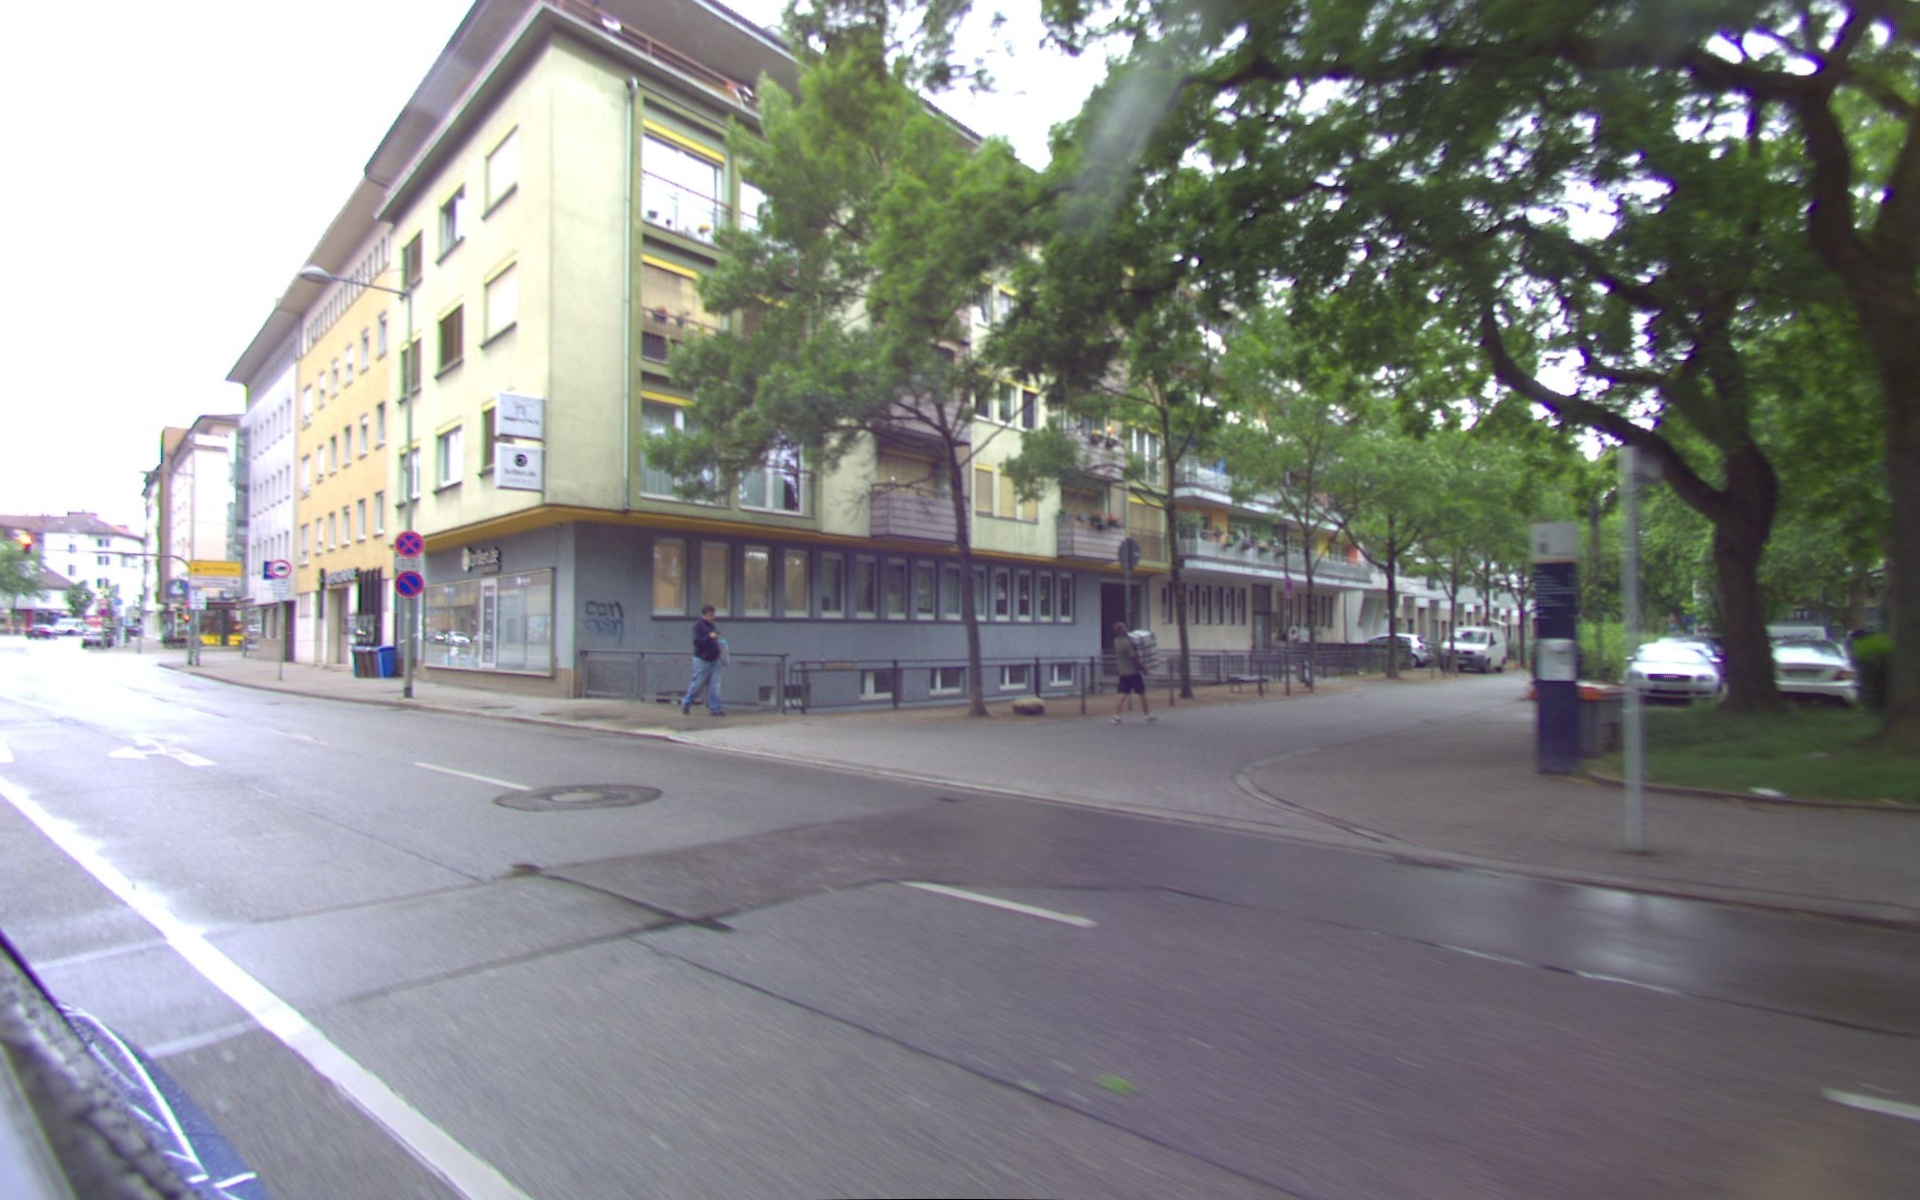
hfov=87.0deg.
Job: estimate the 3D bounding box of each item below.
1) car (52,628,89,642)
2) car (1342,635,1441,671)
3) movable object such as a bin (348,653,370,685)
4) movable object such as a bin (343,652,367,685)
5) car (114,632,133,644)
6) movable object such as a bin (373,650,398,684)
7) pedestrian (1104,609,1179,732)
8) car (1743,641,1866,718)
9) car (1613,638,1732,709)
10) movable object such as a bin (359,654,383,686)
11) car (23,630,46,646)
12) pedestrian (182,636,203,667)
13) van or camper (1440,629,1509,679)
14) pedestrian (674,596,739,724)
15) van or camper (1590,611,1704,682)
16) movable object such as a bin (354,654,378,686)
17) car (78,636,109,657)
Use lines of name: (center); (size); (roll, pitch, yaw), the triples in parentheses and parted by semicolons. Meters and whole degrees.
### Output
car: (-113.082, 4.472, 128.693); (1.984, 1.778, 4.777); (2, -3, -22)
car: (20.443, 2.492, 47.998); (3.998, 1.608, 1.757); (-1, -2, 41)
movable object such as a bin: (-18.855, 2.162, 31.741); (0.458, 0.935, 0.429); (-4, 1, -42)
movable object such as a bin: (-19.290, 2.175, 32.250); (0.510, 1.008, 0.524); (-4, 1, -42)
car: (-108.887, 4.900, 131.748); (1.567, 1.539, 3.496); (1, -2, -36)
movable object such as a bin: (-17.517, 2.041, 30.857); (0.522, 0.968, 0.435); (-4, 1, -42)
pedestrian: (2.969, 1.126, 16.572); (0.906, 1.939, 0.820); (2, -3, -44)
car: (18.260, 1.630, 21.825); (1.863, 1.475, 3.944); (-2, -3, 42)
car: (16.480, 1.621, 23.351); (1.863, 1.475, 3.593); (-2, -3, 41)
movable object such as a bin: (-18.085, 2.149, 31.087); (0.522, 0.902, 0.435); (-4, 1, -42)
car: (-96.516, 3.960, 105.568); (1.723, 1.608, 4.005); (2, -3, -42)
pedestrian: (-40.833, 2.751, 53.861); (0.773, 1.600, 0.675); (-2, -1, -29)
van or camper: (22.742, 2.346, 44.656); (1.825, 2.029, 4.577); (1, -2, 38)
pedestrian: (-4.154, 0.969, 16.596); (0.741, 2.029, 0.783); (2, -3, -42)
van or camper: (26.133, 1.711, 38.306); (2.561, 2.420, 8.535); (-2, -3, 41)
movable object such as a bin: (-18.435, 2.173, 31.401); (0.521, 0.935, 0.426); (-4, 1, -42)
car: (-70.002, 3.737, 81.814); (1.807, 1.634, 4.007); (1, -3, -39)
